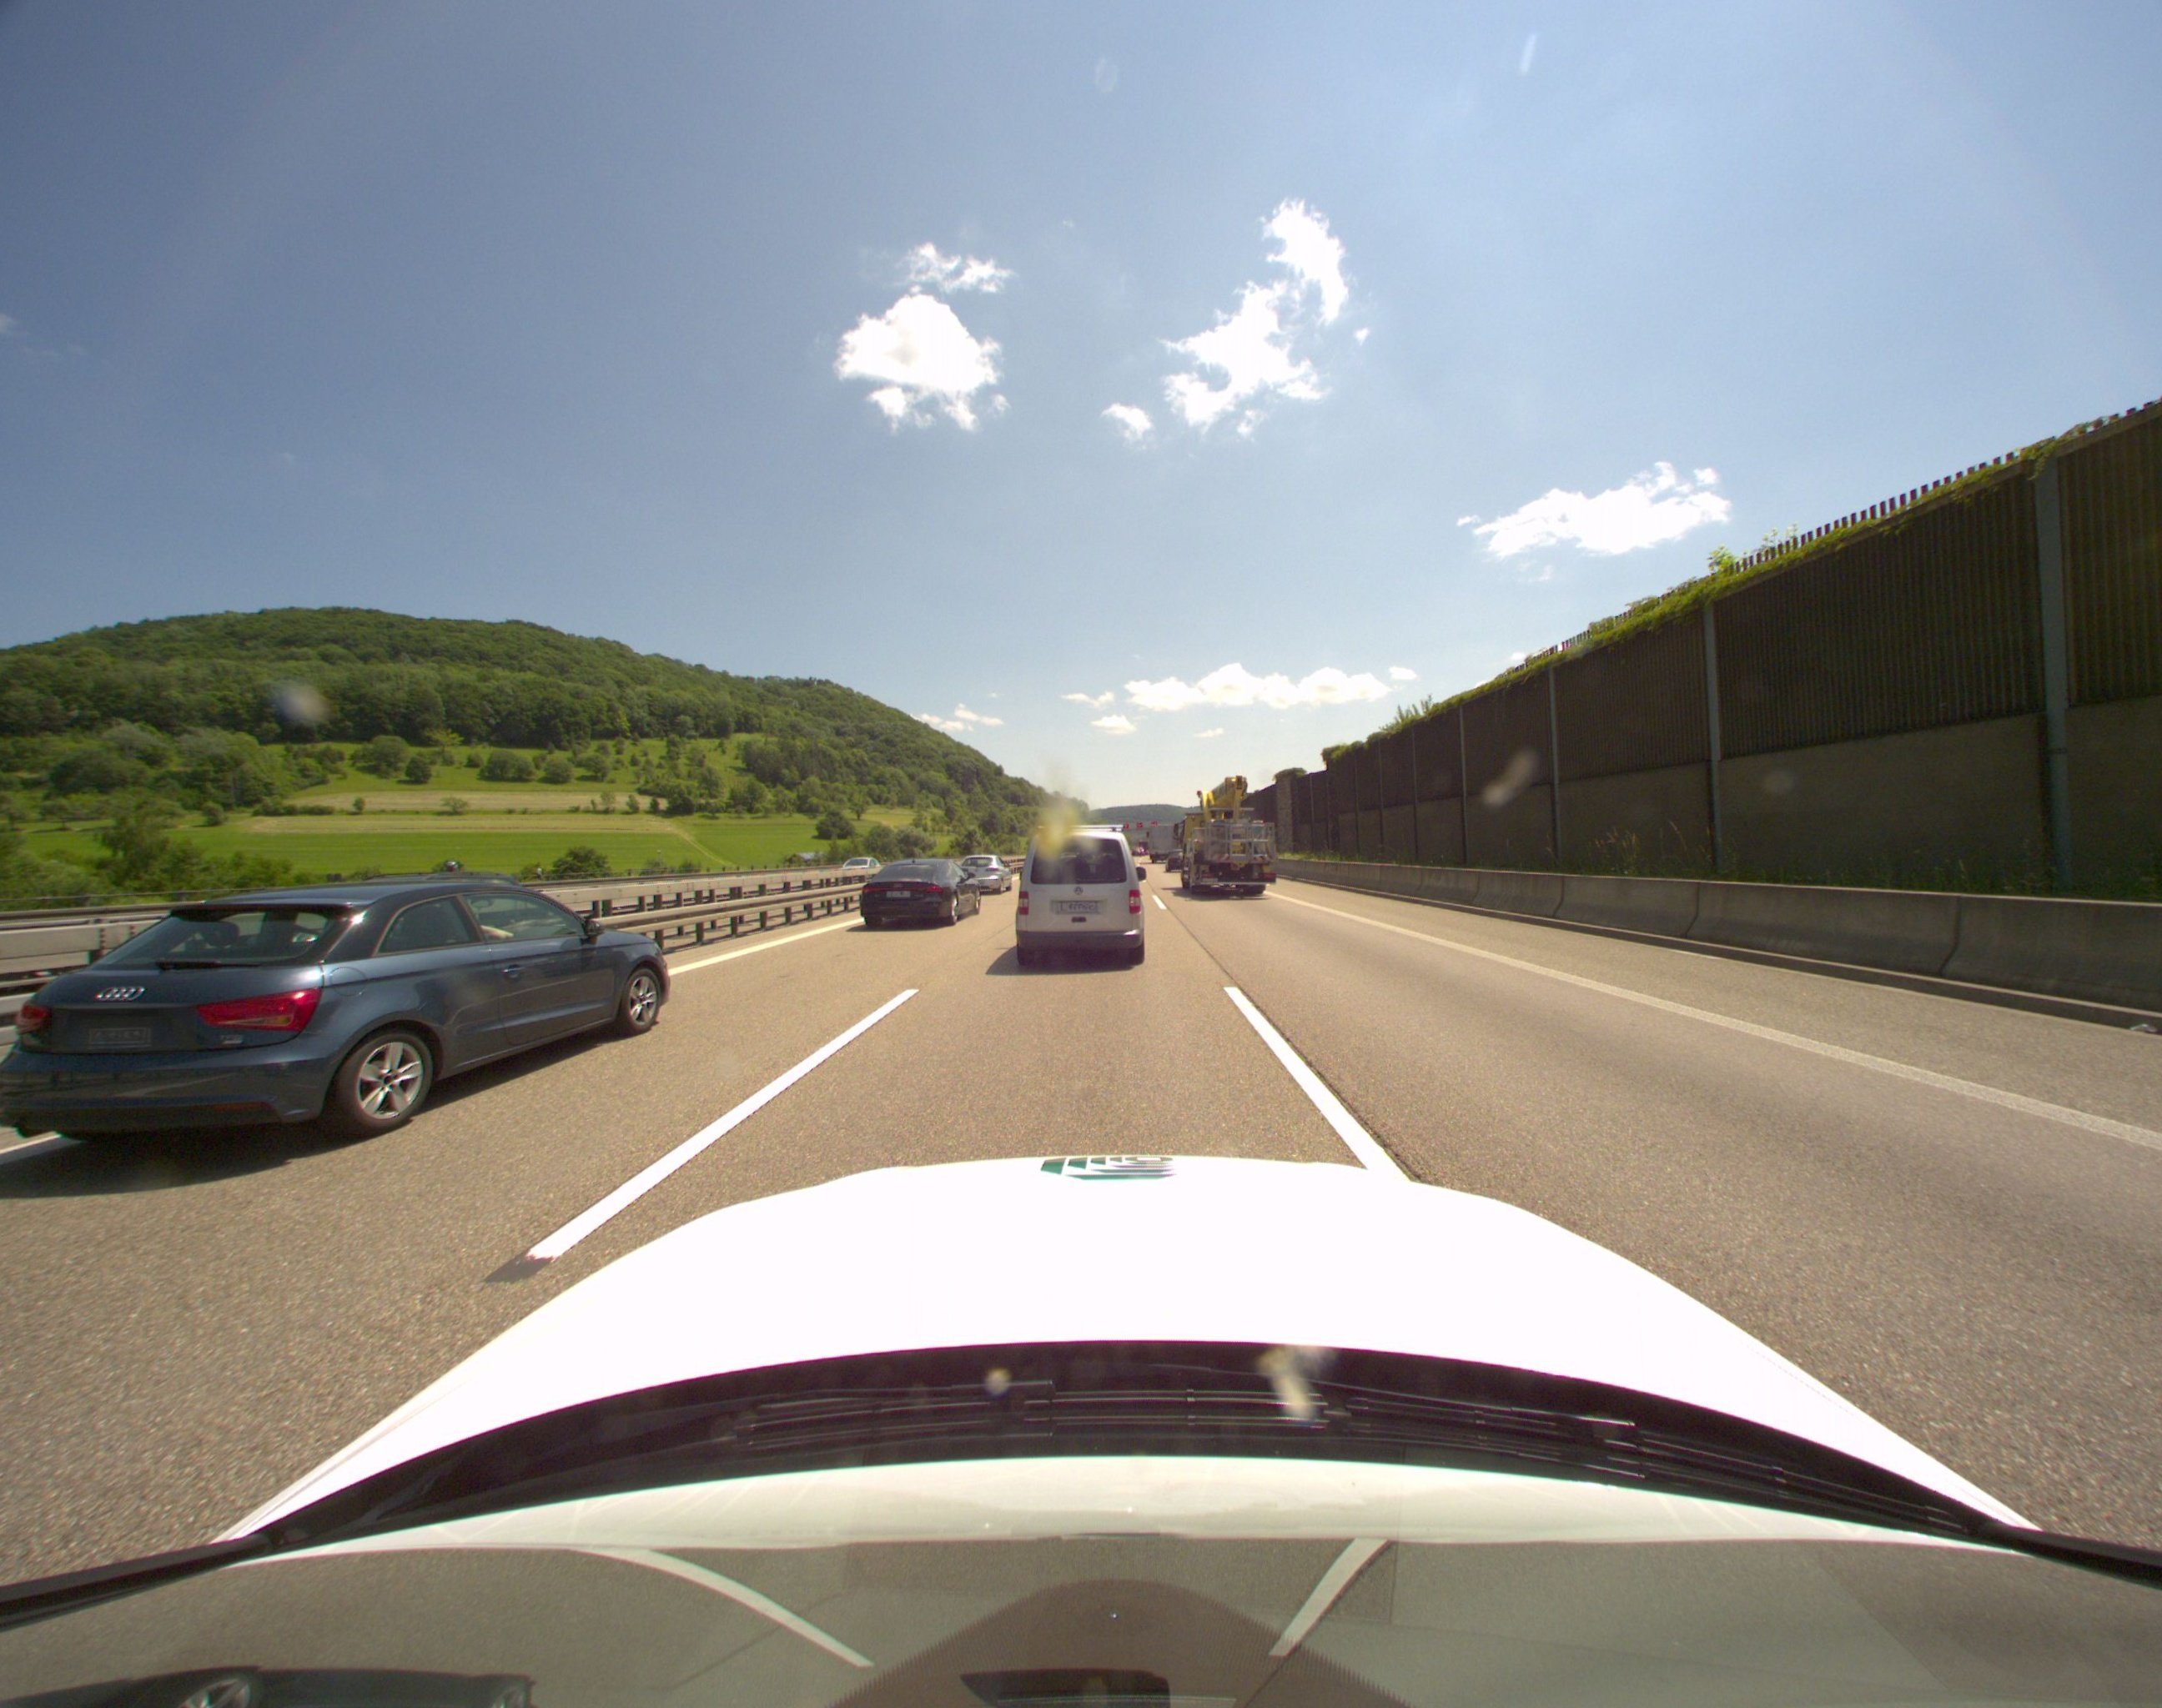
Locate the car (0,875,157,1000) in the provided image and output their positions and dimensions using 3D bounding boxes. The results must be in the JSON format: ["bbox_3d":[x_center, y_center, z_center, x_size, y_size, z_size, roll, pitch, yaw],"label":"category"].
[{"bbox_3d":[-15.478,1.174,10.580,1.862,1.618,4.357,-1,0,2],"label":"car"}]

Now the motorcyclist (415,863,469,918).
[{"bbox_3d":[-18.211,1.031,23.218,0.841,1.501,0.838,-1,0,0],"label":"motorcyclist"}]

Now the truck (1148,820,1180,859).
[{"bbox_3d":[8.591,-1.467,84.850,2.928,3.823,8.243,-1,0,3],"label":"truck"}]

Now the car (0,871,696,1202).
[{"bbox_3d":[-4.590,0.886,5.734,1.682,1.388,4.003,-2,0,2],"label":"car"}]

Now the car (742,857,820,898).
[{"bbox_3d":[-14.245,1.076,38.965,1.986,1.792,4.278,-1,0,2],"label":"car"}]

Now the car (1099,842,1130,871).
[{"bbox_3d":[2.362,0.140,58.971,1.988,1.975,3.998,-2,0,-1],"label":"car"}]

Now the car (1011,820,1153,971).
[{"bbox_3d":[-0.015,0.512,12.337,1.751,1.867,3.998,-2,0,-1],"label":"car"}]

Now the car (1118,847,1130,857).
[{"bbox_3d":[8.616,-0.396,162.993,2.108,1.827,3.998,-1,0,-1],"label":"car"}]

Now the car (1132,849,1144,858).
[{"bbox_3d":[11.657,-0.130,166.298,2.108,1.827,3.998,-1,0,-1],"label":"car"}]

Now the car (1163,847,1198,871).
[{"bbox_3d":[6.555,0.317,53.796,1.781,1.458,3.769,-2,0,-1],"label":"car"}]

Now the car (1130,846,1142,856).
[{"bbox_3d":[9.805,-0.565,145.018,1.986,1.749,4.002,-1,0,2],"label":"car"}]

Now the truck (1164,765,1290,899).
[{"bbox_3d":[4.829,-0.674,28.811,2.696,3.942,8.718,-2,0,-1],"label":"truck"}]

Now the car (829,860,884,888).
[{"bbox_3d":[-13.064,1.143,47.705,1.986,1.497,4.002,-1,0,2],"label":"car"}]

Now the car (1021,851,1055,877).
[{"bbox_3d":[-2.589,0.564,49.742,1.919,1.499,3.998,-1,0,-1],"label":"car"}]

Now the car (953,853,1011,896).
[{"bbox_3d":[-3.631,0.702,30.471,1.690,1.445,3.861,-2,0,-1],"label":"car"}]

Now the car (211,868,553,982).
[{"bbox_3d":[-11.406,1.052,13.862,1.743,1.468,4.629,-2,0,1],"label":"car"}]

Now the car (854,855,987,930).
[{"bbox_3d":[-3.454,0.766,18.555,1.793,1.390,4.973,-2,0,3],"label":"car"}]

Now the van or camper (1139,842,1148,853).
[{"bbox_3d":[16.640,-1.783,216.994,1.986,2.953,5.425,-1,0,2],"label":"van or camper"}]
